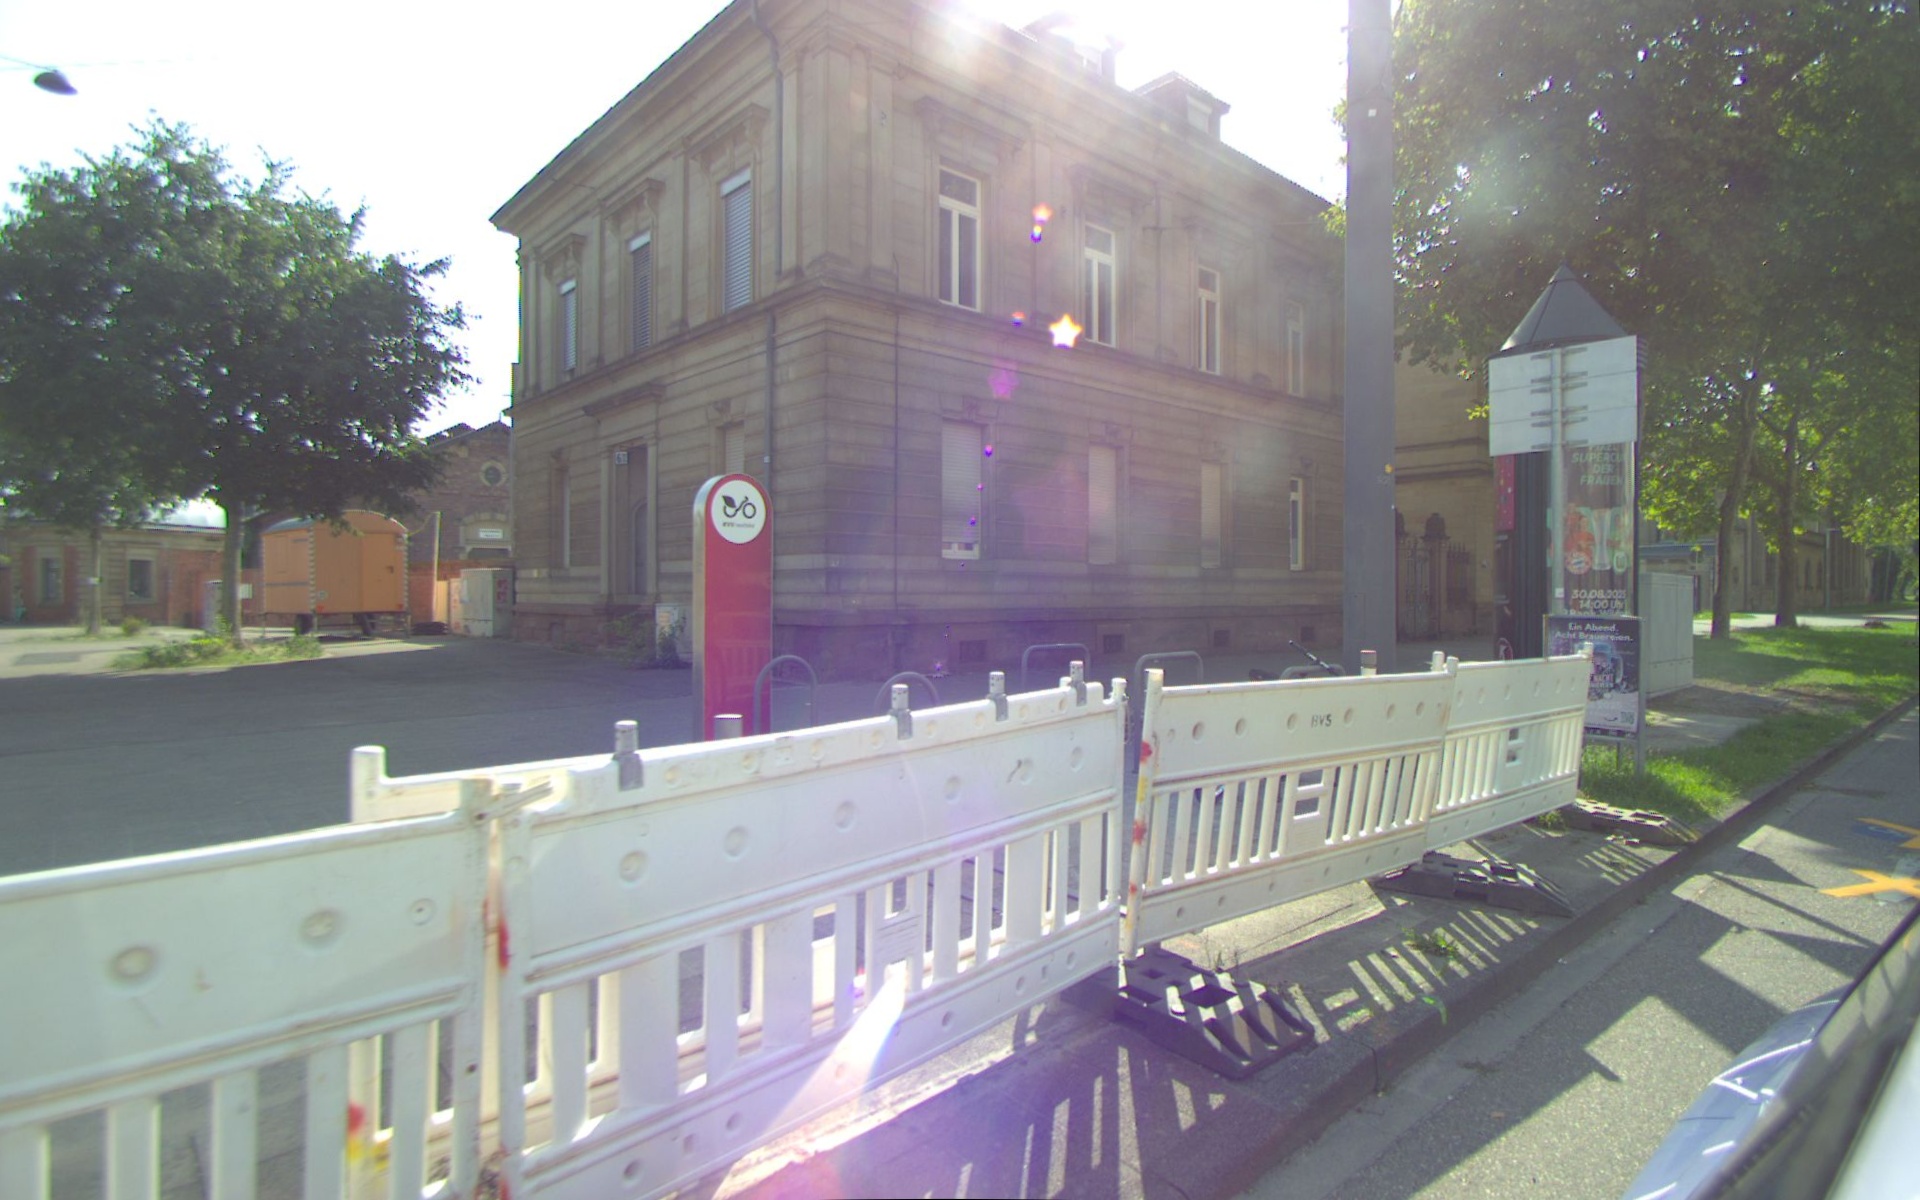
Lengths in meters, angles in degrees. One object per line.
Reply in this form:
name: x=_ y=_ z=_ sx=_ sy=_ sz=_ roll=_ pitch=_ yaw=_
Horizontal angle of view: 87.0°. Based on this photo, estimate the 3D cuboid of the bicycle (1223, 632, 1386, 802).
bicycle: x=2.358 y=0.743 z=6.861 sx=1.352 sy=0.999 sz=0.411 roll=0 pitch=1 yaw=-40

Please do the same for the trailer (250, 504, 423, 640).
trailer: x=-15.658 y=-0.698 z=25.360 sx=3.982 sy=3.106 sz=2.521 roll=0 pitch=2 yaw=40
